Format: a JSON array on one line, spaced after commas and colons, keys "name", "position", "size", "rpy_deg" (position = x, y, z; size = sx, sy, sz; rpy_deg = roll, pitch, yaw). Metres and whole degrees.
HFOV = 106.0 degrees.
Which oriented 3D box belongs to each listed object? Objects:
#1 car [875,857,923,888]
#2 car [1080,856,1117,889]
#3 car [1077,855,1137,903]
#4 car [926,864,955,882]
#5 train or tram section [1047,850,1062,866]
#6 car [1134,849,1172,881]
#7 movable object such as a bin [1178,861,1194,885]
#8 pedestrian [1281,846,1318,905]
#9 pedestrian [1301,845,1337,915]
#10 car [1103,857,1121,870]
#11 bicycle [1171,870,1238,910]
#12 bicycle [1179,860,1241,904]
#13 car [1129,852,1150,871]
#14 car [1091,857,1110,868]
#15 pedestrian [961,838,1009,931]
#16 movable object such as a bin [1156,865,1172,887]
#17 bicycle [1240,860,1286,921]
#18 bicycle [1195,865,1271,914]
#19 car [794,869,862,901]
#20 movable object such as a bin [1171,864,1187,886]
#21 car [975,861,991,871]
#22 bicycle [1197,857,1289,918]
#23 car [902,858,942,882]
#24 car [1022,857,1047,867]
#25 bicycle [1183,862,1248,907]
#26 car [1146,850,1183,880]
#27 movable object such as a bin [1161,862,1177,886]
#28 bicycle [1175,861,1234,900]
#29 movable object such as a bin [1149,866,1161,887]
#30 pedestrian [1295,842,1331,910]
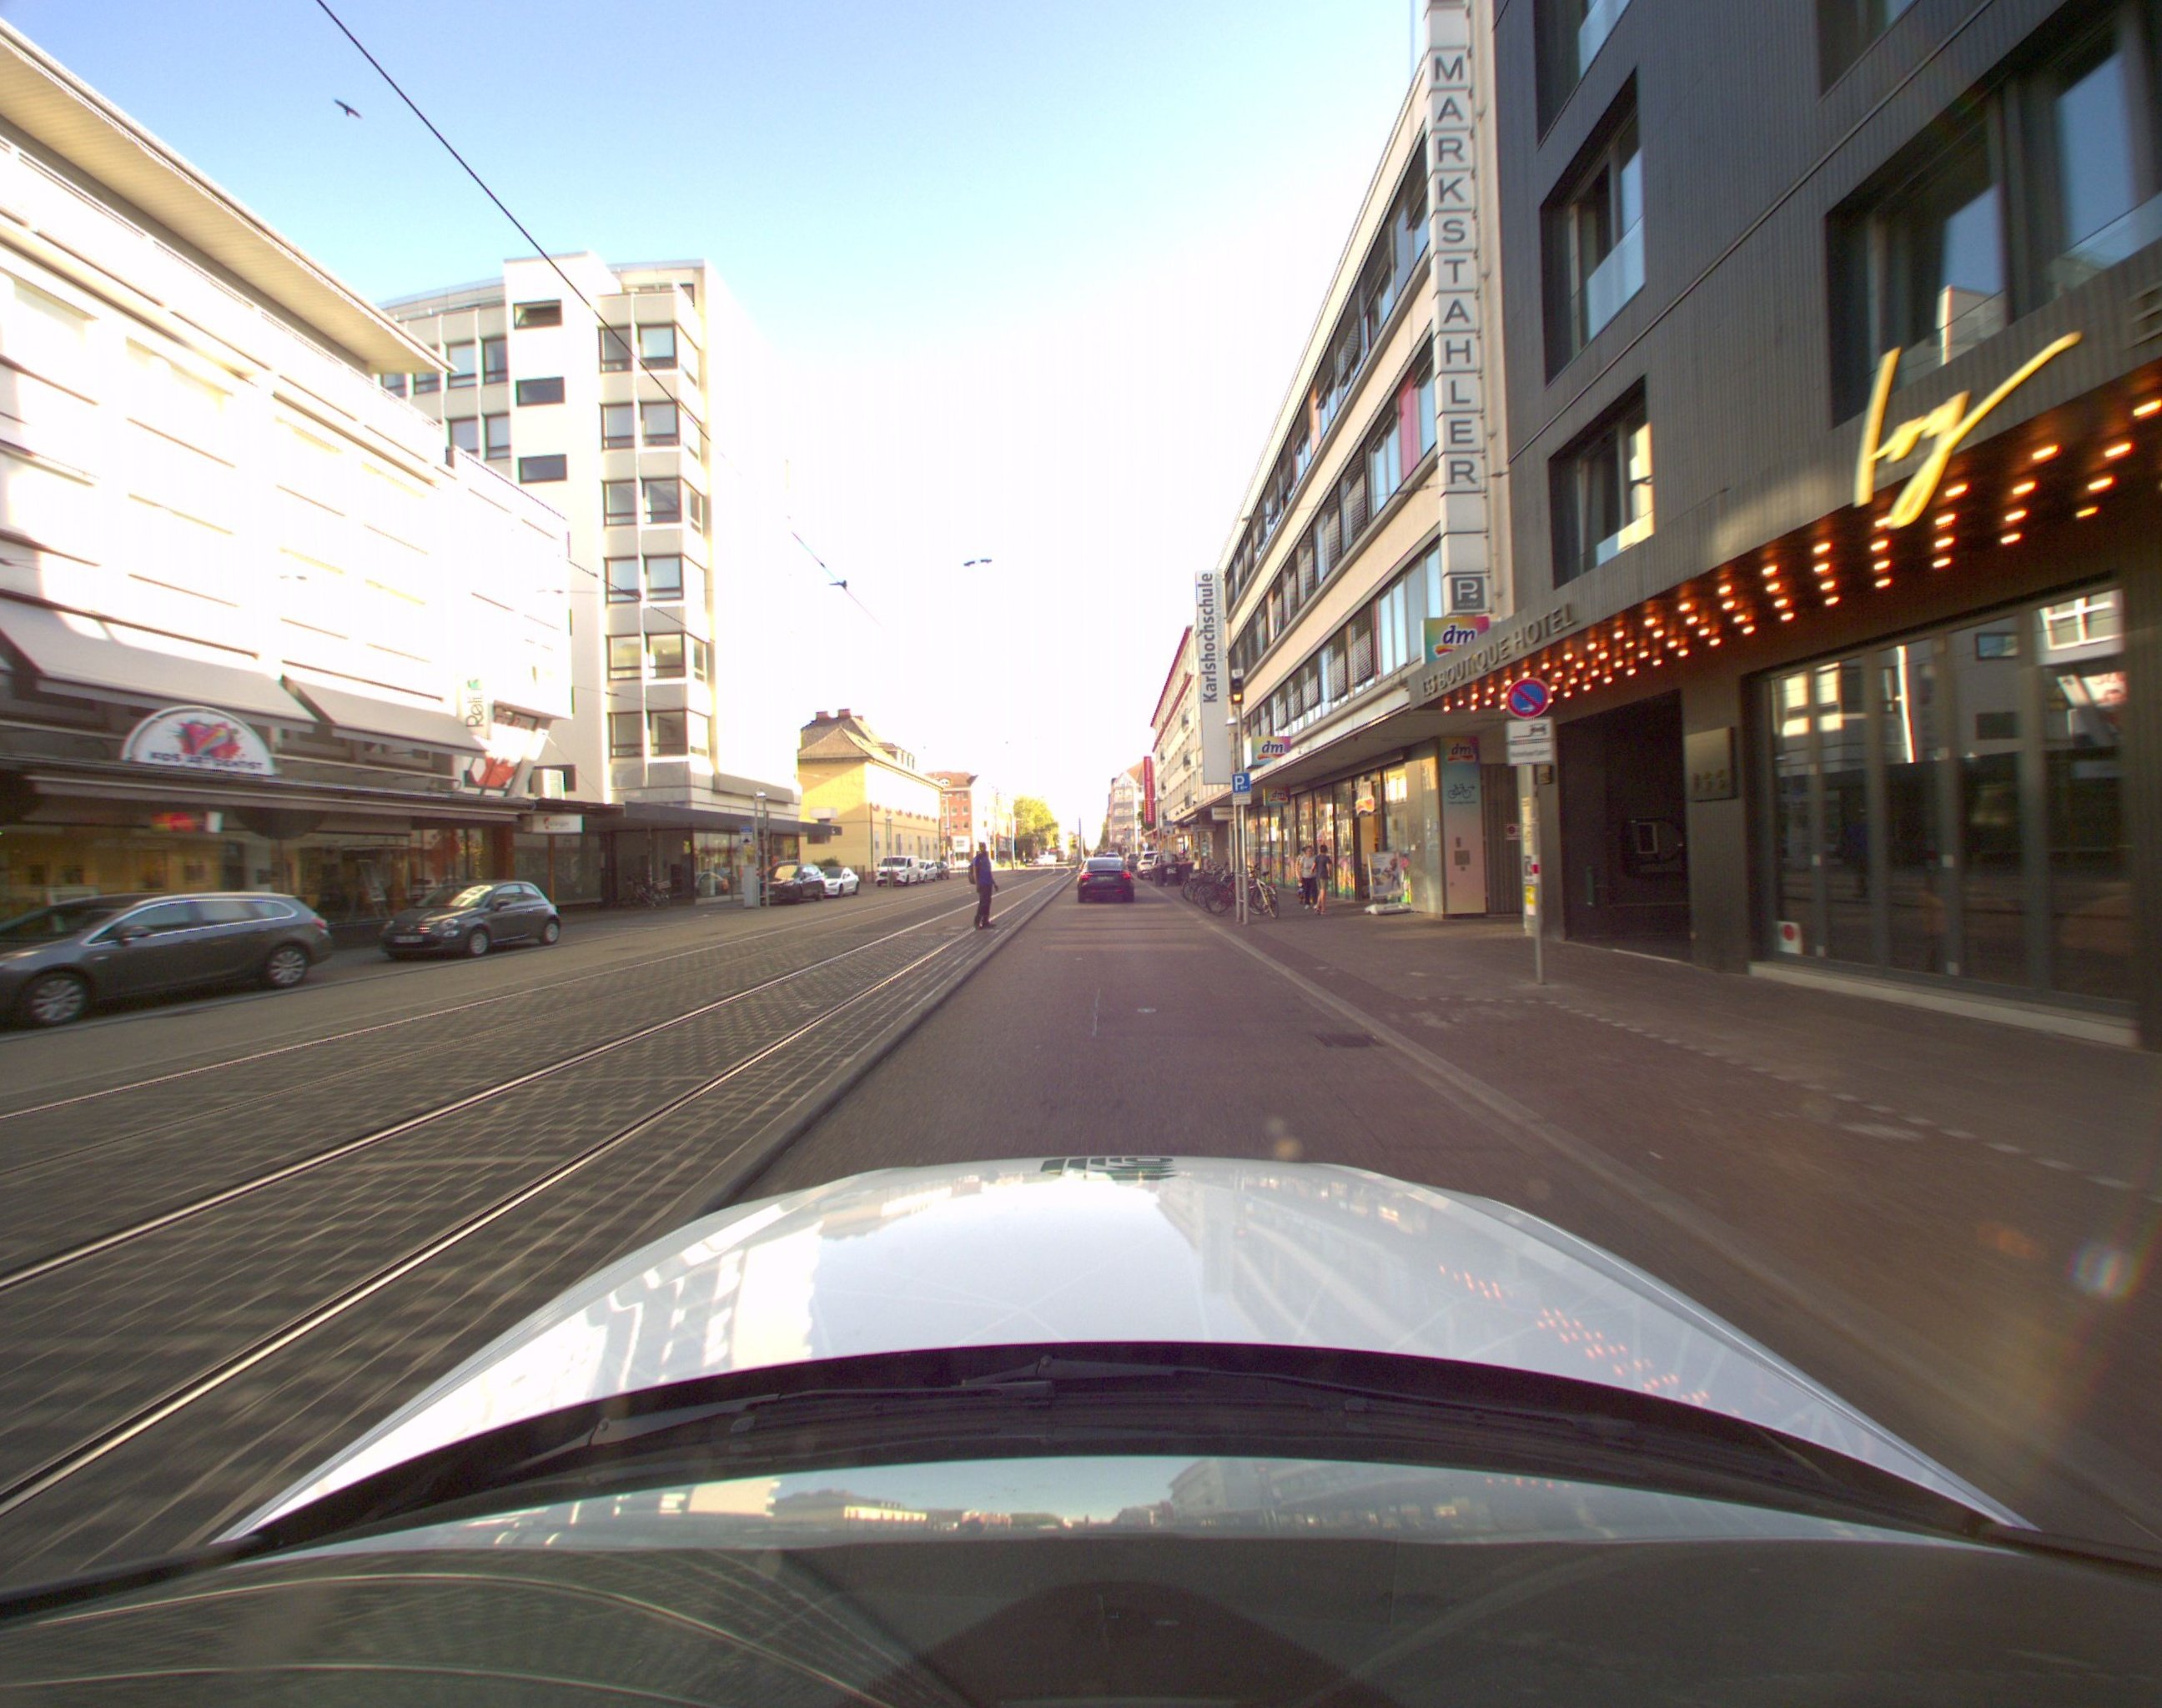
[{"name": "car", "position": [-11.891, 1.168, 53.547], "size": [1.987, 1.975, 5.097], "rpy_deg": [0, -1, 1]}, {"name": "car", "position": [0.859, 0.838, 38.944], "size": [1.647, 1.418, 4.002], "rpy_deg": [0, 0, 2]}, {"name": "car", "position": [0.827, 0.805, 27.396], "size": [1.843, 1.484, 3.787], "rpy_deg": [-1, -1, 0]}, {"name": "car", "position": [-11.295, 1.507, 65.662], "size": [1.608, 1.400, 3.720], "rpy_deg": [0, -1, 1]}, {"name": "train or tram section", "position": [-6.410, 0.933, 199.161], "size": [2.664, 3.715, 14.197], "rpy_deg": [0, 0, 2]}, {"name": "car", "position": [4.390, 0.673, 50.176], "size": [1.843, 1.724, 5.193], "rpy_deg": [-4, -1, 1]}, {"name": "movable object such as a bin", "position": [4.916, 0.886, 38.140], "size": [0.687, 1.089, 0.666], "rpy_deg": [-3, -1, 4]}, {"name": "pedestrian", "position": [5.666, 0.555, 21.136], "size": [0.585, 1.486, 0.591], "rpy_deg": [-4, -1, -30]}, {"name": "pedestrian", "position": [5.248, 0.574, 17.999], "size": [0.522, 1.493, 0.583], "rpy_deg": [-4, -1, -1]}, {"name": "car", "position": [3.613, 1.083, 94.764], "size": [1.778, 1.519, 4.215], "rpy_deg": [0, -1, -2]}, {"name": "bicycle", "position": [3.458, 1.002, 22.875], "size": [1.767, 1.032, 0.597], "rpy_deg": [-3, 0, 0]}, {"name": "bicycle", "position": [3.959, 0.854, 25.063], "size": [1.781, 1.217, 0.669], "rpy_deg": [-3, 0, 0]}, {"name": "car", "position": [5.597, 0.712, 78.076], "size": [1.739, 1.632, 3.650], "rpy_deg": [-3, 0, 2]}, {"name": "car", "position": [2.802, 1.172, 117.014], "size": [1.825, 1.519, 4.201], "rpy_deg": [0, -1, -11]}, {"name": "pedestrian", "position": [-1.978, 0.624, 16.851], "size": [0.801, 1.837, 0.746], "rpy_deg": [-4, -1, -1]}, {"name": "movable object such as a bin", "position": [3.941, 1.045, 38.744], "size": [0.683, 1.014, 0.508], "rpy_deg": [-3, -1, 3]}, {"name": "bicycle", "position": [4.089, 0.793, 18.352], "size": [0.579, 1.257, 1.601], "rpy_deg": [-4, -1, 0]}, {"name": "bicycle", "position": [3.828, 0.879, 20.561], "size": [1.770, 1.130, 0.478], "rpy_deg": [-3, 0, -5]}, {"name": "car", "position": [-12.327, 1.470, 39.948], "size": [1.882, 1.421, 4.655], "rpy_deg": [0, -1, 0]}, {"name": "movable object such as a bin", "position": [4.657, 0.994, 38.681], "size": [0.655, 1.014, 0.637], "rpy_deg": [-3, -1, 3]}, {"name": "car", "position": [-15.273, 1.863, 127.317], "size": [1.895, 1.464, 4.003], "rpy_deg": [0, -1, 3]}, {"name": "bicycle", "position": [3.926, 0.792, 19.769], "size": [2.035, 1.274, 0.523], "rpy_deg": [-5, 0, -9]}, {"name": "car", "position": [-11.691, 1.164, 60.132], "size": [1.800, 1.686, 4.653], "rpy_deg": [0, -1, 4]}, {"name": "car", "position": [-8.280, 1.426, 143.968], "size": [4.002, 1.678, 1.986], "rpy_deg": [-2, 0, -21]}, {"name": "bicycle", "position": [3.998, 0.893, 24.244], "size": [1.781, 1.217, 0.587], "rpy_deg": [-3, 0, 0]}, {"name": "car", "position": [4.597, 0.594, 45.097], "size": [1.609, 1.528, 4.070], "rpy_deg": [-3, -1, 1]}, {"name": "movable object such as a bin", "position": [4.107, 0.937, 38.045], "size": [0.687, 1.089, 0.686], "rpy_deg": [-3, -1, 4]}, {"name": "bicycle", "position": [3.972, 0.852, 26.271], "size": [1.781, 1.159, 0.669], "rpy_deg": [-3, 0, 0]}, {"name": "movable object such as a bin", "position": [3.468, 1.043, 38.306], "size": [0.485, 0.958, 0.458], "rpy_deg": [-3, -1, 4]}, {"name": "pedestrian", "position": [5.591, 0.525, 19.636], "size": [0.579, 1.585, 0.597], "rpy_deg": [-4, -1, -1]}]
